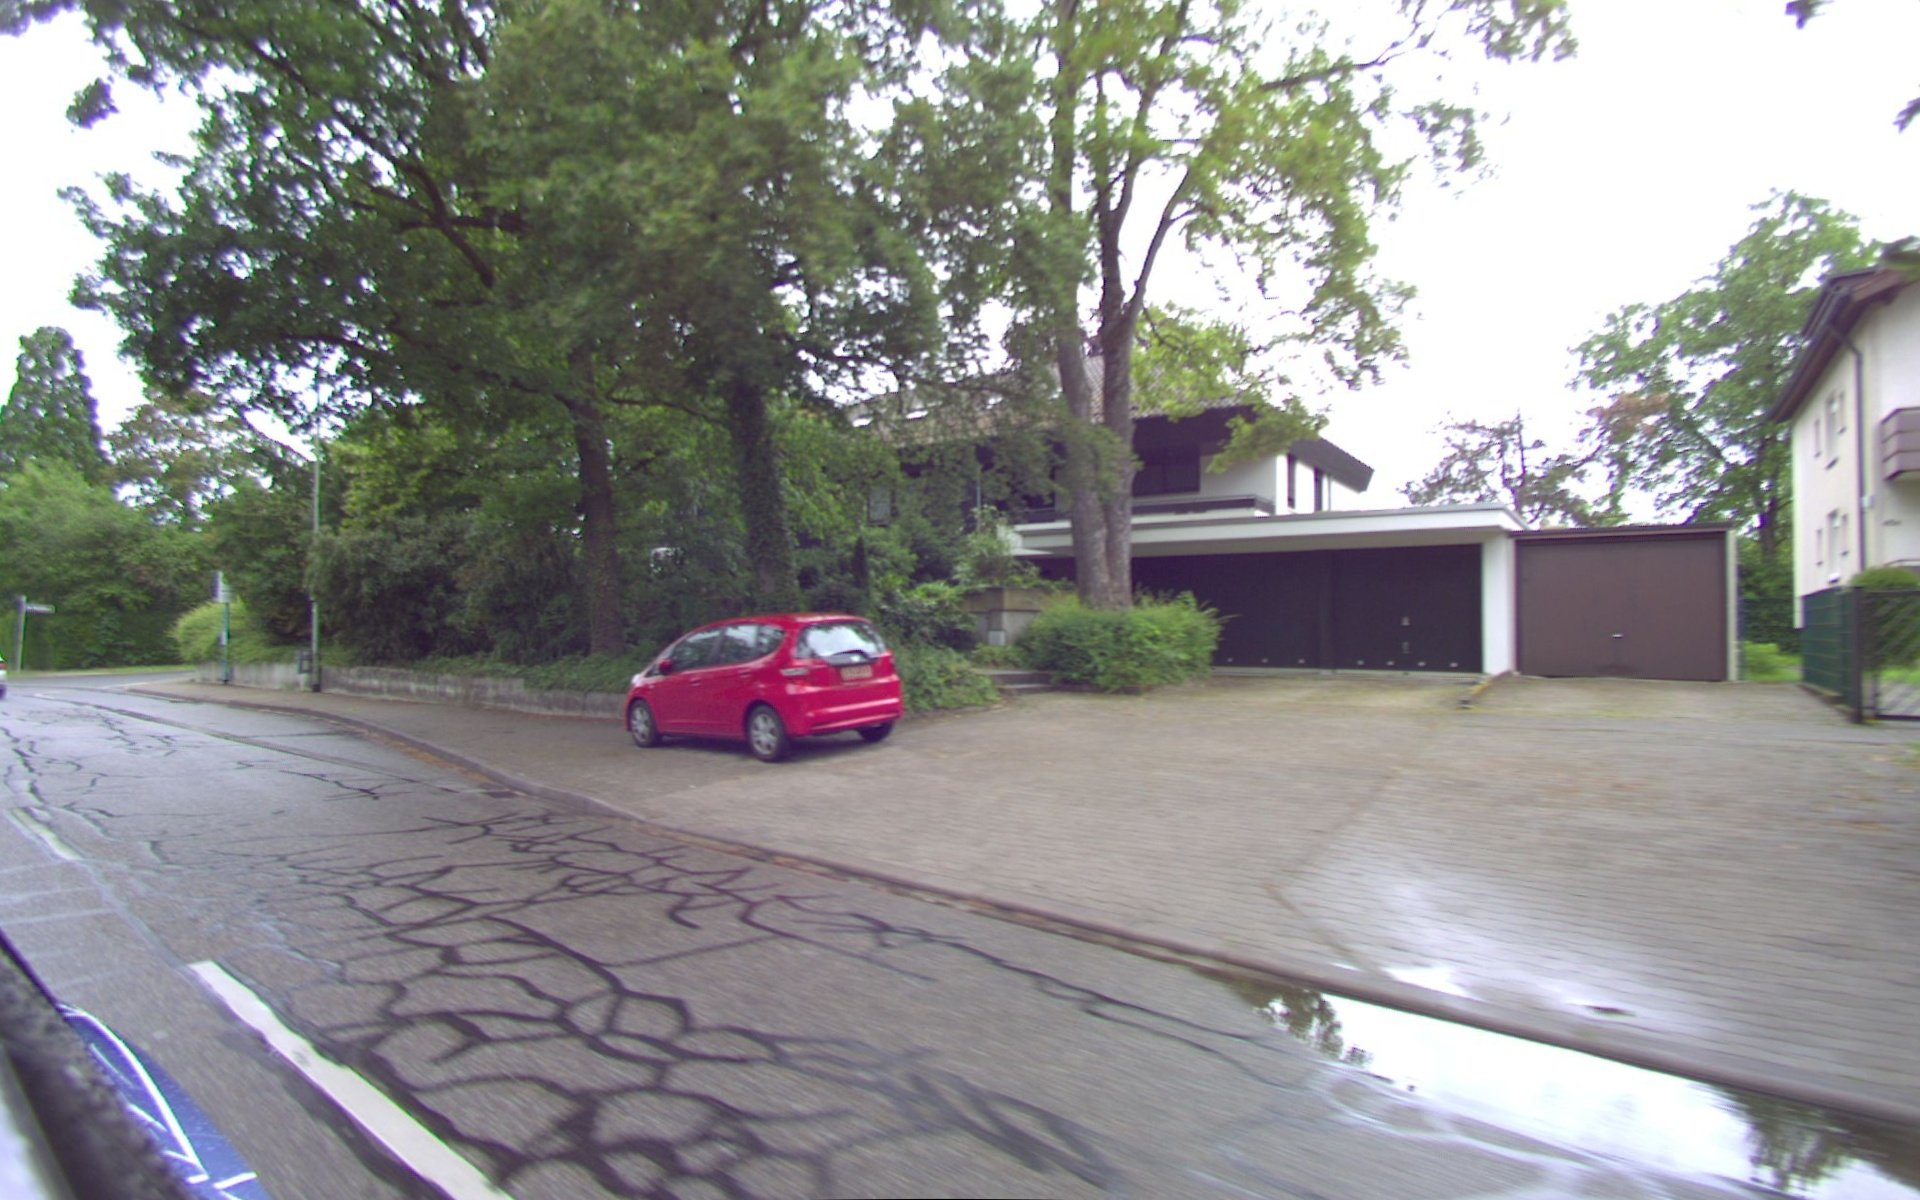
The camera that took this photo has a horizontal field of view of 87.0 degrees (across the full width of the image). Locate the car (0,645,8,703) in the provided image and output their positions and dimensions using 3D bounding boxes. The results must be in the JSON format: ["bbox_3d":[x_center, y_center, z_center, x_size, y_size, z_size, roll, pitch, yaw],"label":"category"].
[{"bbox_3d":[-25.421,1.829,25.401,4.004,1.421,1.683,-2,-5,39],"label":"car"}]

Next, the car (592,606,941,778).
[{"bbox_3d":[-2.373,0.946,11.840,4.000,1.527,1.972,-2,2,43],"label":"car"}]
